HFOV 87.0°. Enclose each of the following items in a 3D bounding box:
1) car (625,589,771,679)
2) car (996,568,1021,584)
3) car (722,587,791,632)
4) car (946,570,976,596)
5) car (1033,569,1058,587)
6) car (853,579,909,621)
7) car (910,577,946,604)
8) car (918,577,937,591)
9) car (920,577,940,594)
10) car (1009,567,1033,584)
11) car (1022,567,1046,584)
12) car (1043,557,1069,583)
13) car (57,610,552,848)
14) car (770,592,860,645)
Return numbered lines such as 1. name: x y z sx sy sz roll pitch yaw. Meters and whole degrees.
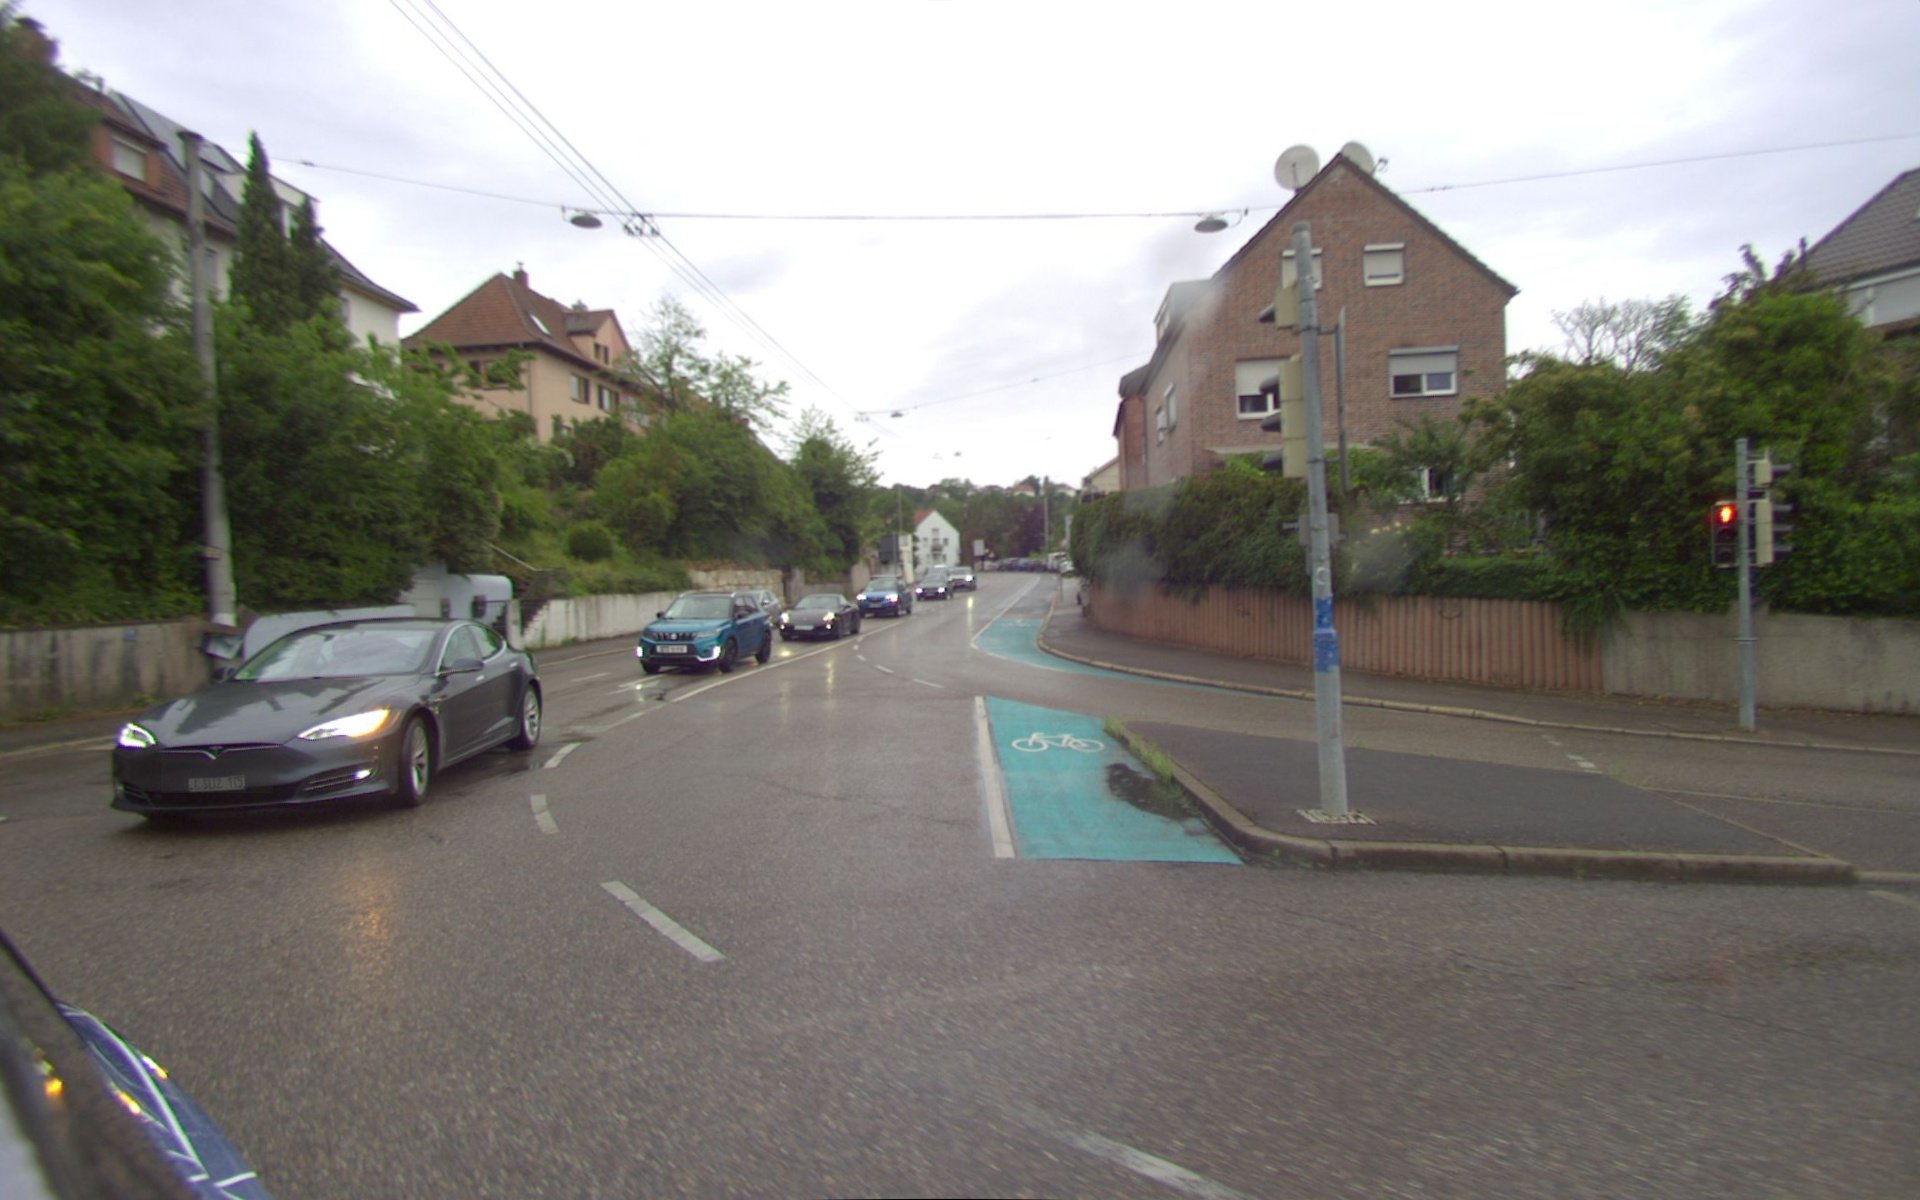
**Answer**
1. car: -5.295 0.615 20.993 1.778 1.622 4.038 -2 0 3
2. car: 5.928 -2.976 124.228 1.744 1.772 4.336 -2 0 -14
3. car: -7.412 0.310 37.094 1.533 1.462 3.360 -2 2 5
4. car: 0.105 -1.172 70.226 1.736 1.661 4.038 -4 1 3
5. car: 9.169 -2.384 108.358 1.746 1.772 4.331 -2 0 -7
6. car: -3.236 -0.016 42.090 1.737 1.662 4.036 -1 0 4
7. car: -1.791 -0.551 58.258 1.736 1.471 4.038 -1 0 3
8. car: -3.568 -1.752 111.088 1.590 1.409 3.372 -3 2 -8
9. car: -2.639 -1.295 89.678 1.594 1.409 3.365 -2 2 1
10. car: 7.132 -2.873 119.364 1.744 1.772 4.334 -2 0 -11
11. car: 8.287 -2.775 113.951 1.745 1.772 4.332 -2 0 -8
12. car: 9.688 -2.999 102.387 1.984 2.475 4.451 -2 0 -1
13. car: -5.130 0.859 8.771 1.808 1.402 4.330 -2 0 -6
14. car: -4.272 0.517 30.438 1.738 1.471 4.034 -1 0 6
